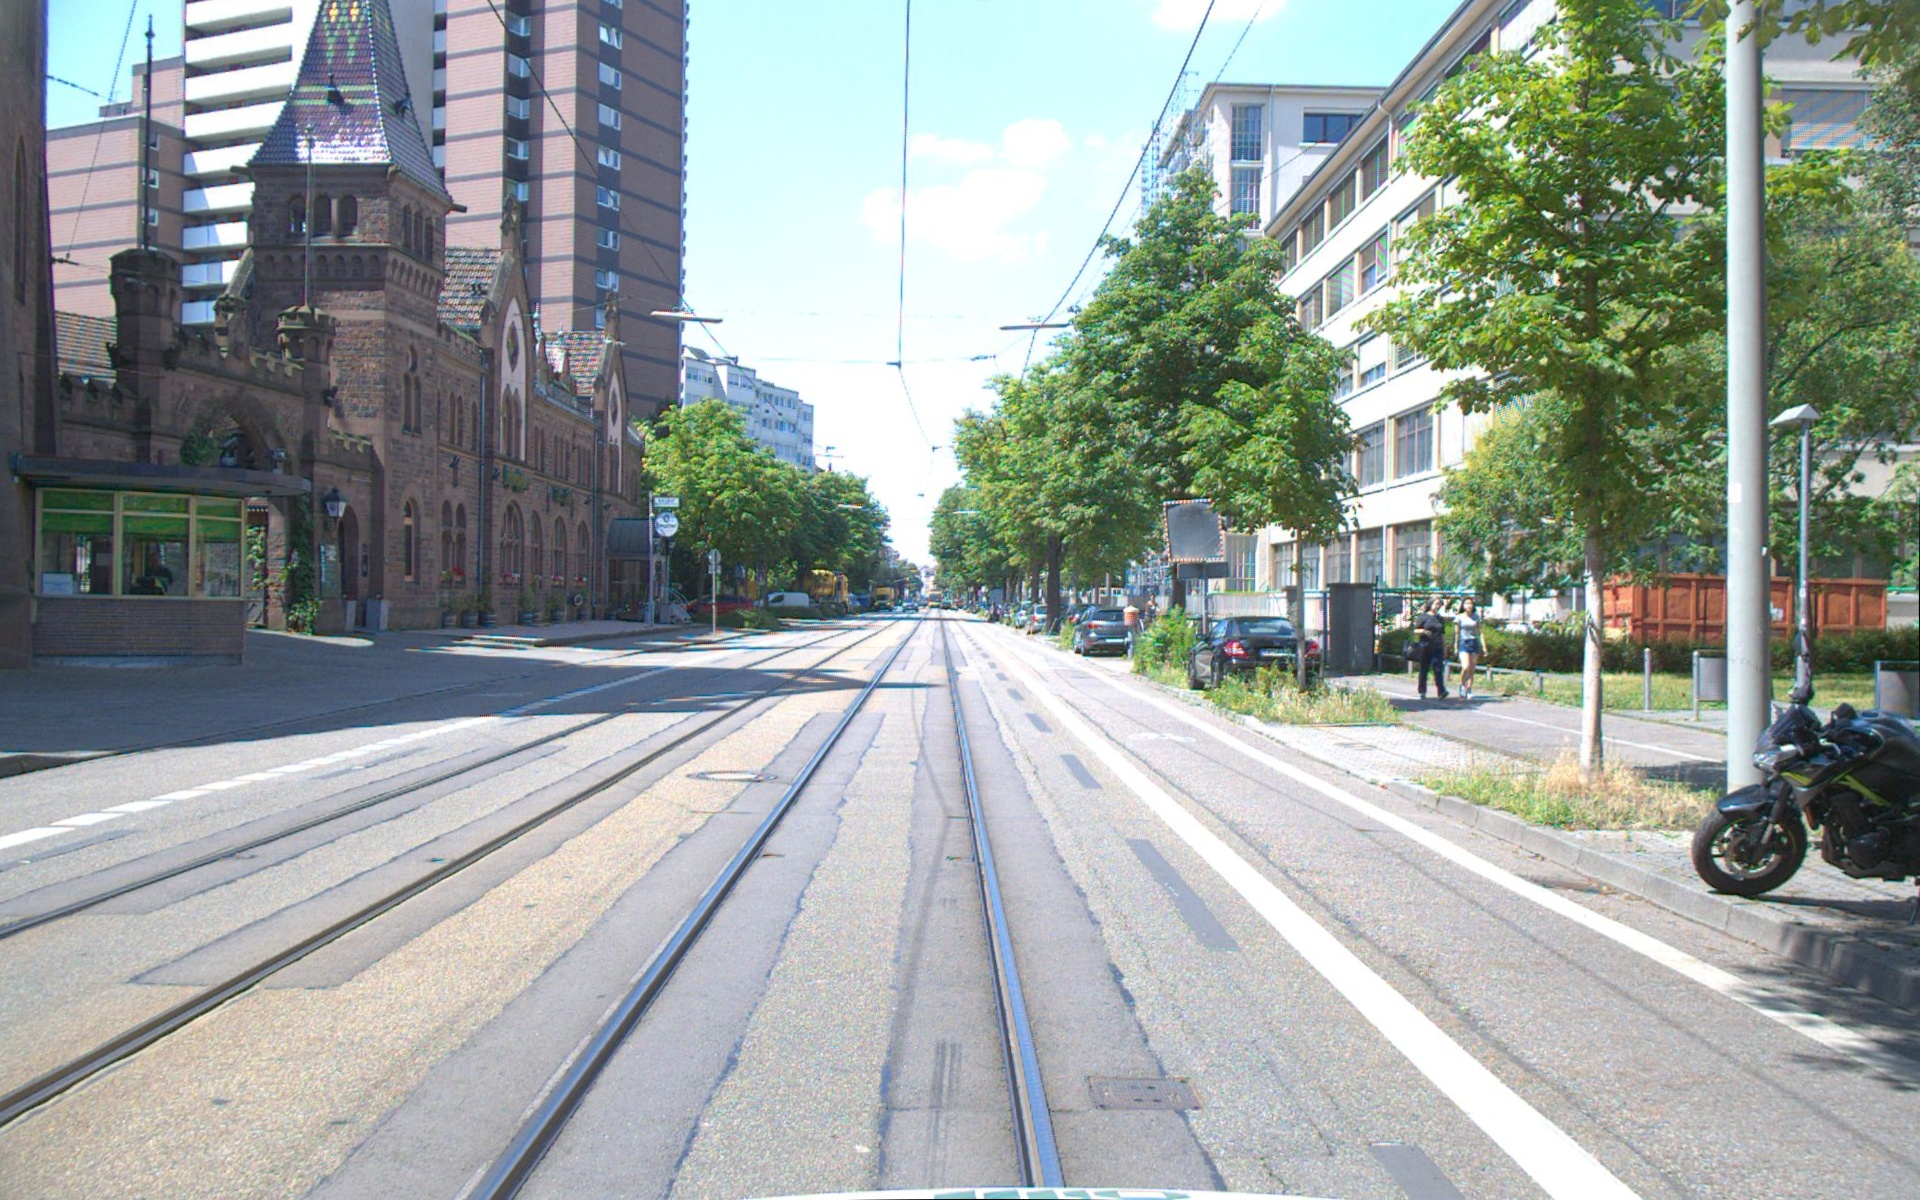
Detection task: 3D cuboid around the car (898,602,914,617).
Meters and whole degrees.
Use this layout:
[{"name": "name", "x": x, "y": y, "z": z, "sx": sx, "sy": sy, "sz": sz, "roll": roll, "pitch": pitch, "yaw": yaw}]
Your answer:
[{"name": "car", "x": -6.360, "y": 1.127, "z": 193.780, "sx": 1.793, "sy": 1.710, "sz": 4.184, "roll": 0, "pitch": 0, "yaw": -1}]

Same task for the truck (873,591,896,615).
[{"name": "truck", "x": -9.295, "y": 0.384, "z": 203.339, "sx": 2.312, "sy": 2.902, "sz": 7.378, "roll": -1, "pitch": 0, "yaw": 1}]

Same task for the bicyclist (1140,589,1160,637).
[{"name": "bicyclist", "x": 6.590, "y": 0.449, "z": 57.426, "sx": 0.569, "sy": 1.677, "sz": 0.599, "roll": -1, "pitch": 0, "yaw": -1}]

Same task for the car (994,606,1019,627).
[{"name": "car", "x": 3.475, "y": 1.216, "z": 123.673, "sx": 1.786, "sy": 1.497, "sz": 4.401, "roll": 0, "pitch": 0, "yaw": 2}]

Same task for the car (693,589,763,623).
[{"name": "car", "x": -19.418, "y": 0.534, "z": 138.825, "sx": 2.137, "sy": 2.611, "sz": 6.712, "roll": 0, "pitch": -2, "yaw": 29}]

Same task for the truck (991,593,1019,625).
[{"name": "truck", "x": 3.633, "y": 0.720, "z": 134.342, "sx": 1.973, "sy": 2.532, "sz": 5.954, "roll": 0, "pitch": 0, "yaw": -1}]

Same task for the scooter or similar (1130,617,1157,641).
[{"name": "scooter or similar", "x": 6.571, "y": 1.027, "z": 59.203, "sx": 0.746, "sy": 0.821, "sz": 1.555, "roll": -1, "pitch": 0, "yaw": -1}]

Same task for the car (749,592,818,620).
[{"name": "car", "x": -12.559, "y": 0.441, "z": 117.782, "sx": 4.492, "sy": 1.822, "sz": 1.879, "roll": 2, "pitch": 0, "yaw": -33}]

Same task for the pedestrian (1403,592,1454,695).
[{"name": "pedestrian", "x": 7.414, "y": 0.679, "z": 26.182, "sx": 0.606, "sy": 1.601, "sz": 0.610, "roll": -1, "pitch": 0, "yaw": -1}]

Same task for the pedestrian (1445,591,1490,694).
[{"name": "pedestrian", "x": 8.042, "y": 0.665, "z": 26.221, "sx": 0.502, "sy": 1.601, "sz": 0.544, "roll": -1, "pitch": 0, "yaw": -1}]

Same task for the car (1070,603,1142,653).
[{"name": "car", "x": 4.344, "y": 0.813, "z": 49.733, "sx": 1.637, "sy": 1.433, "sz": 4.747, "roll": 0, "pitch": 0, "yaw": -2}]

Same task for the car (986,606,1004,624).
[{"name": "car", "x": 3.236, "y": 1.389, "z": 153.880, "sx": 1.610, "sy": 1.561, "sz": 3.785, "roll": 0, "pitch": 0, "yaw": 1}]

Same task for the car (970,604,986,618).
[{"name": "car", "x": 2.038, "y": 1.284, "z": 187.641, "sx": 1.606, "sy": 1.511, "sz": 3.870, "roll": 0, "pitch": -1, "yaw": -4}]

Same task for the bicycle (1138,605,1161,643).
[{"name": "bicycle", "x": 6.586, "y": 0.816, "z": 57.518, "sx": 0.543, "sy": 1.287, "sz": 1.773, "roll": -2, "pitch": 0, "yaw": -1}]

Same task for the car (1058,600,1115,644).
[{"name": "car", "x": 4.534, "y": 0.762, "z": 59.677, "sx": 1.637, "sy": 1.516, "sz": 3.979, "roll": 0, "pitch": 0, "yaw": -2}]

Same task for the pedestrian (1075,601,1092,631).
[{"name": "pedestrian", "x": 6.735, "y": 0.869, "z": 90.233, "sx": 0.783, "sy": 1.616, "sz": 0.919, "roll": -1, "pitch": 0, "yaw": -2}]

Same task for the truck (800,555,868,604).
[{"name": "truck", "x": -11.108, "y": -1.766, "z": 147.075, "sx": 2.657, "sy": 3.909, "sz": 10.971, "roll": 2, "pitch": -1, "yaw": 13}]

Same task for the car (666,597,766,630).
[{"name": "car", "x": -12.523, "y": 0.690, "z": 85.012, "sx": 4.713, "sy": 1.594, "sz": 1.982, "roll": 1, "pitch": 0, "yaw": -30}]

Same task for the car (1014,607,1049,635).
[{"name": "car", "x": 3.997, "y": 1.162, "z": 92.916, "sx": 1.637, "sy": 1.544, "sz": 4.200, "roll": 0, "pitch": 0, "yaw": -2}]

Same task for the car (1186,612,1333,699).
[{"name": "car", "x": 4.932, "y": 0.882, "z": 27.694, "sx": 1.716, "sy": 1.293, "sz": 3.833, "roll": 2, "pitch": 0, "yaw": -1}]

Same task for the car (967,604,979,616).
[{"name": "car", "x": 1.835, "y": 1.410, "z": 228.662, "sx": 1.560, "sy": 1.645, "sz": 3.906, "roll": 0, "pitch": -1, "yaw": -1}]

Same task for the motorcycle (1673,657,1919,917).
[{"name": "motorcycle", "x": 4.737, "y": 0.923, "z": 8.330, "sx": 2.022, "sy": 1.234, "sz": 0.610, "roll": 0, "pitch": -2, "yaw": 39}]

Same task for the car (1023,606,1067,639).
[{"name": "car", "x": 4.097, "y": 1.049, "z": 79.971, "sx": 1.638, "sy": 1.525, "sz": 4.362, "roll": 0, "pitch": 0, "yaw": -4}]

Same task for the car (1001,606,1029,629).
[{"name": "car", "x": 3.745, "y": 1.167, "z": 112.909, "sx": 1.787, "sy": 1.497, "sz": 4.486, "roll": 0, "pitch": 0, "yaw": 1}]
